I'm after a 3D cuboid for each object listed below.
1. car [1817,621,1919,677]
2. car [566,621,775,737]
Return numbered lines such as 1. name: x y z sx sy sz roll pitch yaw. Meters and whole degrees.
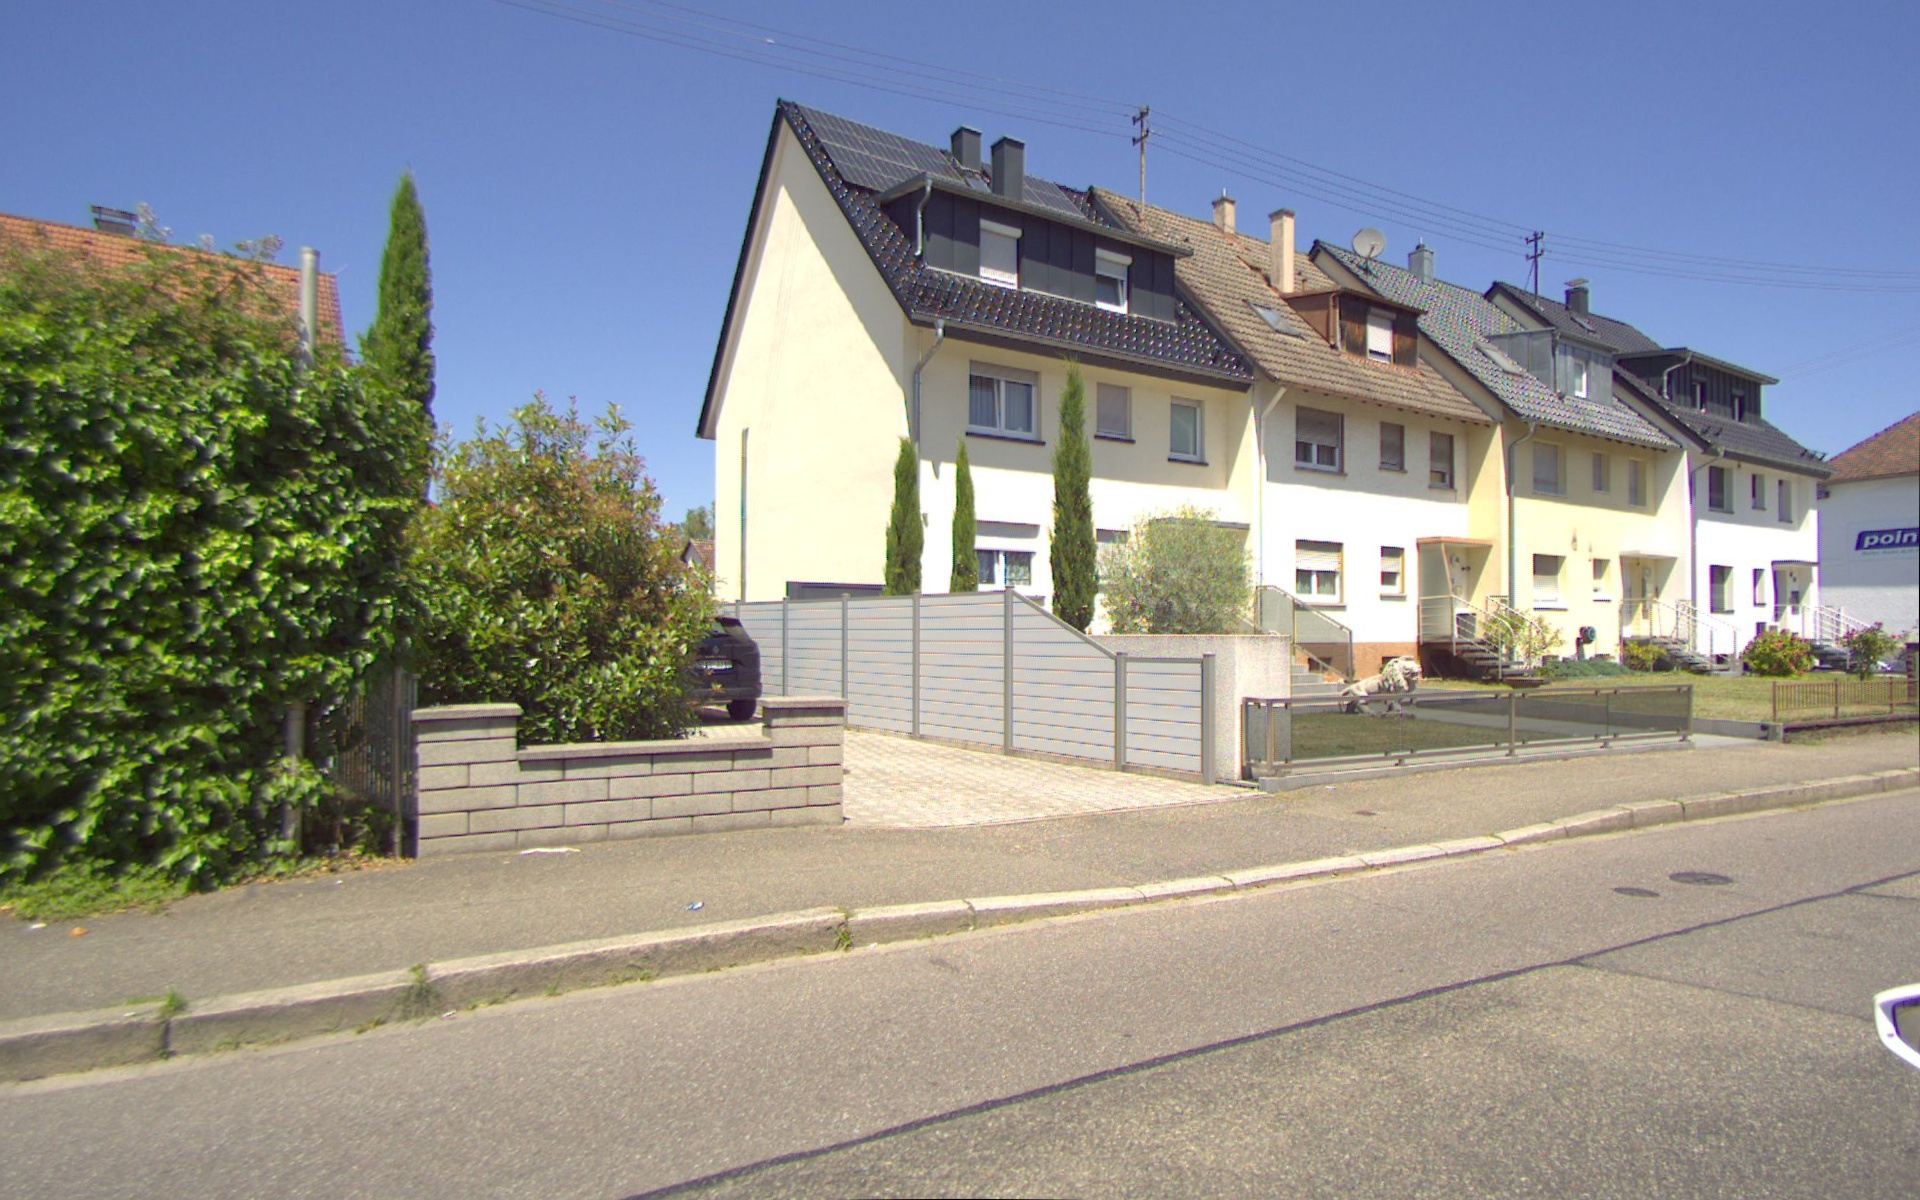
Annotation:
1. car: 27.690 1.399 29.663 1.763 1.530 4.003 0 -1 9
2. car: -4.540 1.094 15.367 1.784 1.530 3.958 1 -2 -37
